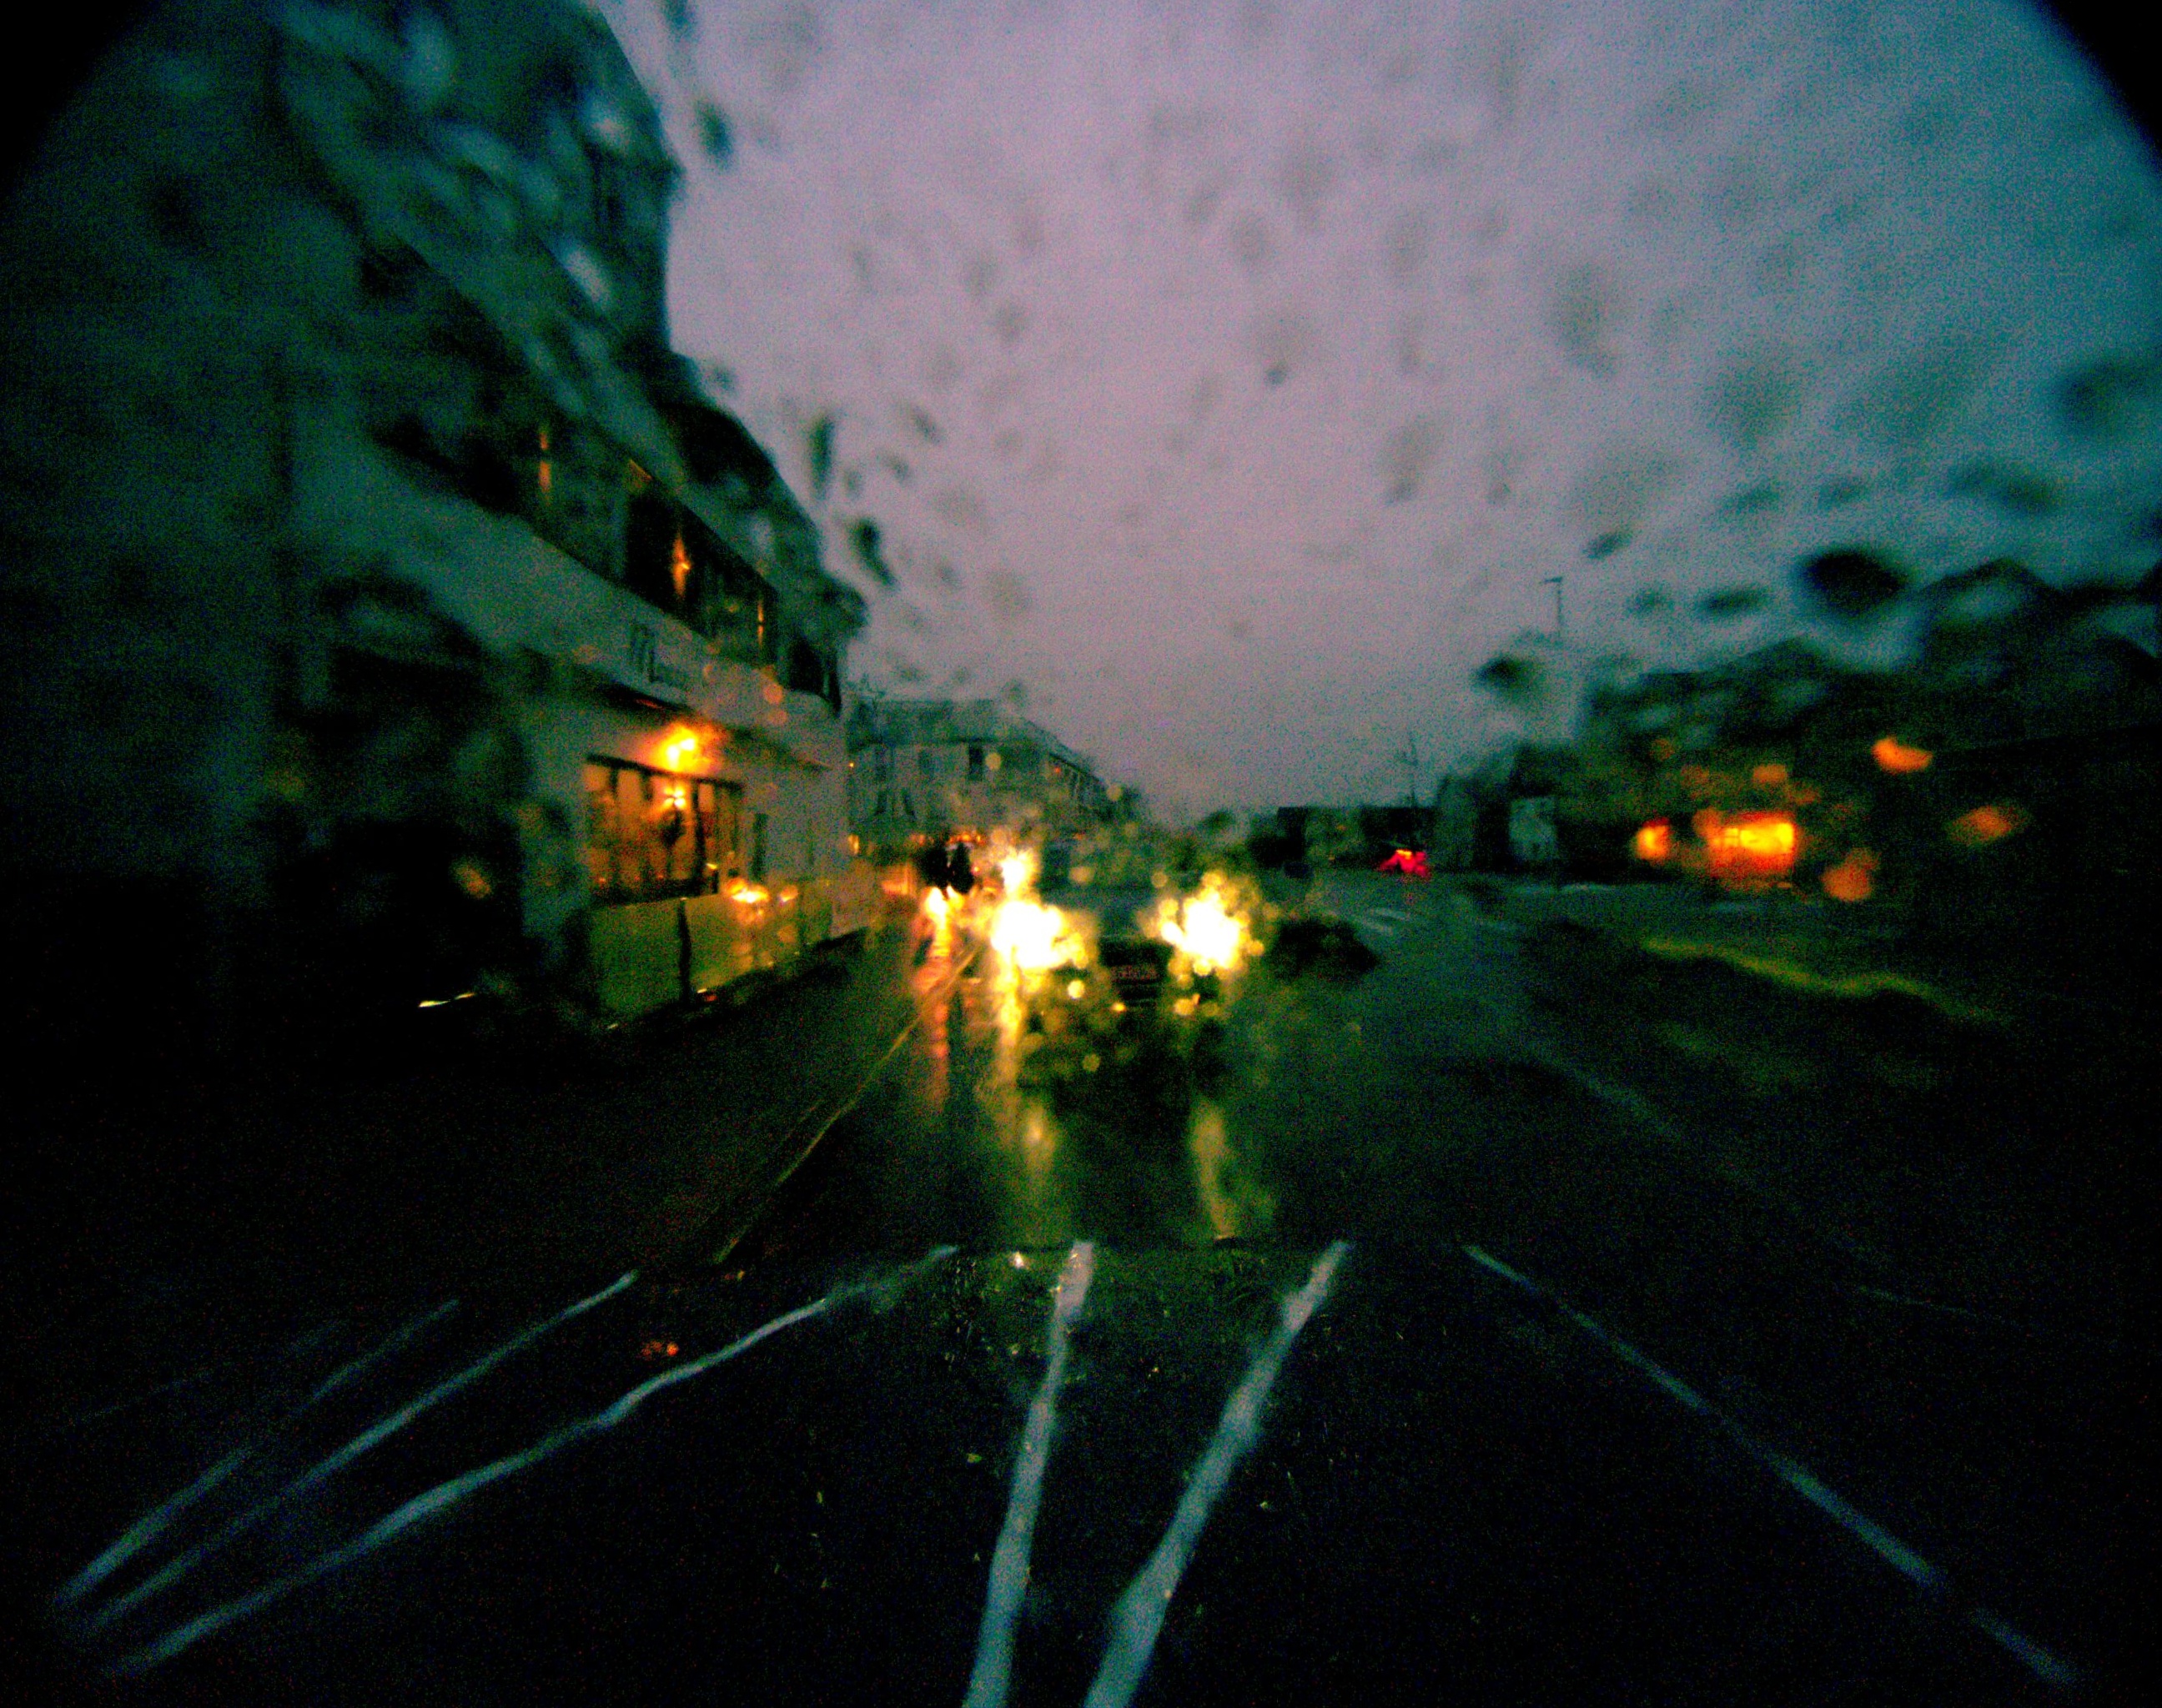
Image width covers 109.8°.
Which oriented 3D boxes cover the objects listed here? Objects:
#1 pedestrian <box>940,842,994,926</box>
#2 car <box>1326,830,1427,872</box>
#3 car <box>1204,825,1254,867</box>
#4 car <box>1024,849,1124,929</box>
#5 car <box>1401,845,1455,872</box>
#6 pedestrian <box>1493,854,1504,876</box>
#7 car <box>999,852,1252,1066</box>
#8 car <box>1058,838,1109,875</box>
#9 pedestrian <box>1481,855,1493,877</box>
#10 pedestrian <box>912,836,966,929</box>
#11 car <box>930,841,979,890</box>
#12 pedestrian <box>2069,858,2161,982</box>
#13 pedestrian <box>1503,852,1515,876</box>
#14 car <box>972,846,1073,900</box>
[{"bbox_3d":[-2.475,0.635,16.576,0.789,1.752,0.769,1,4,44],"label":"pedestrian"},{"bbox_3d":[15.113,-0.197,39.117,2.003,2.003,4.452,-4,3,-36],"label":"car"},{"bbox_3d":[7.920,-0.471,40.251,2.055,1.976,4.541,-1,3,18],"label":"car"},{"bbox_3d":[-0.282,0.703,17.594,1.764,1.471,4.015,-2,2,-8],"label":"car"},{"bbox_3d":[27.079,0.339,59.430,1.936,1.871,3.866,-3,3,-13],"label":"car"},{"bbox_3d":[31.035,0.821,56.444,0.582,1.602,0.500,-2,3,5],"label":"pedestrian"},{"bbox_3d":[0.312,0.817,8.014,1.958,1.576,4.108,-1,1,-1],"label":"car"},{"bbox_3d":[0.132,0.058,35.002,2.172,1.469,3.998,-2,3,0],"label":"car"},{"bbox_3d":[29.899,0.875,55.959,0.582,1.602,0.500,-2,3,5],"label":"pedestrian"},{"bbox_3d":[-2.970,0.576,15.885,0.789,1.856,0.711,1,4,44],"label":"pedestrian"},{"bbox_3d":[-5.171,0.420,31.385,1.826,1.736,3.995,-2,3,-8],"label":"car"},{"bbox_3d":[10.644,0.620,7.325,0.990,1.151,0.903,-2,-1,10],"label":"pedestrian"},{"bbox_3d":[30.272,0.711,53.792,0.582,1.602,0.500,-2,3,5],"label":"pedestrian"},{"bbox_3d":[-2.068,0.551,25.394,2.030,1.471,4.548,-3,3,-22],"label":"car"}]
